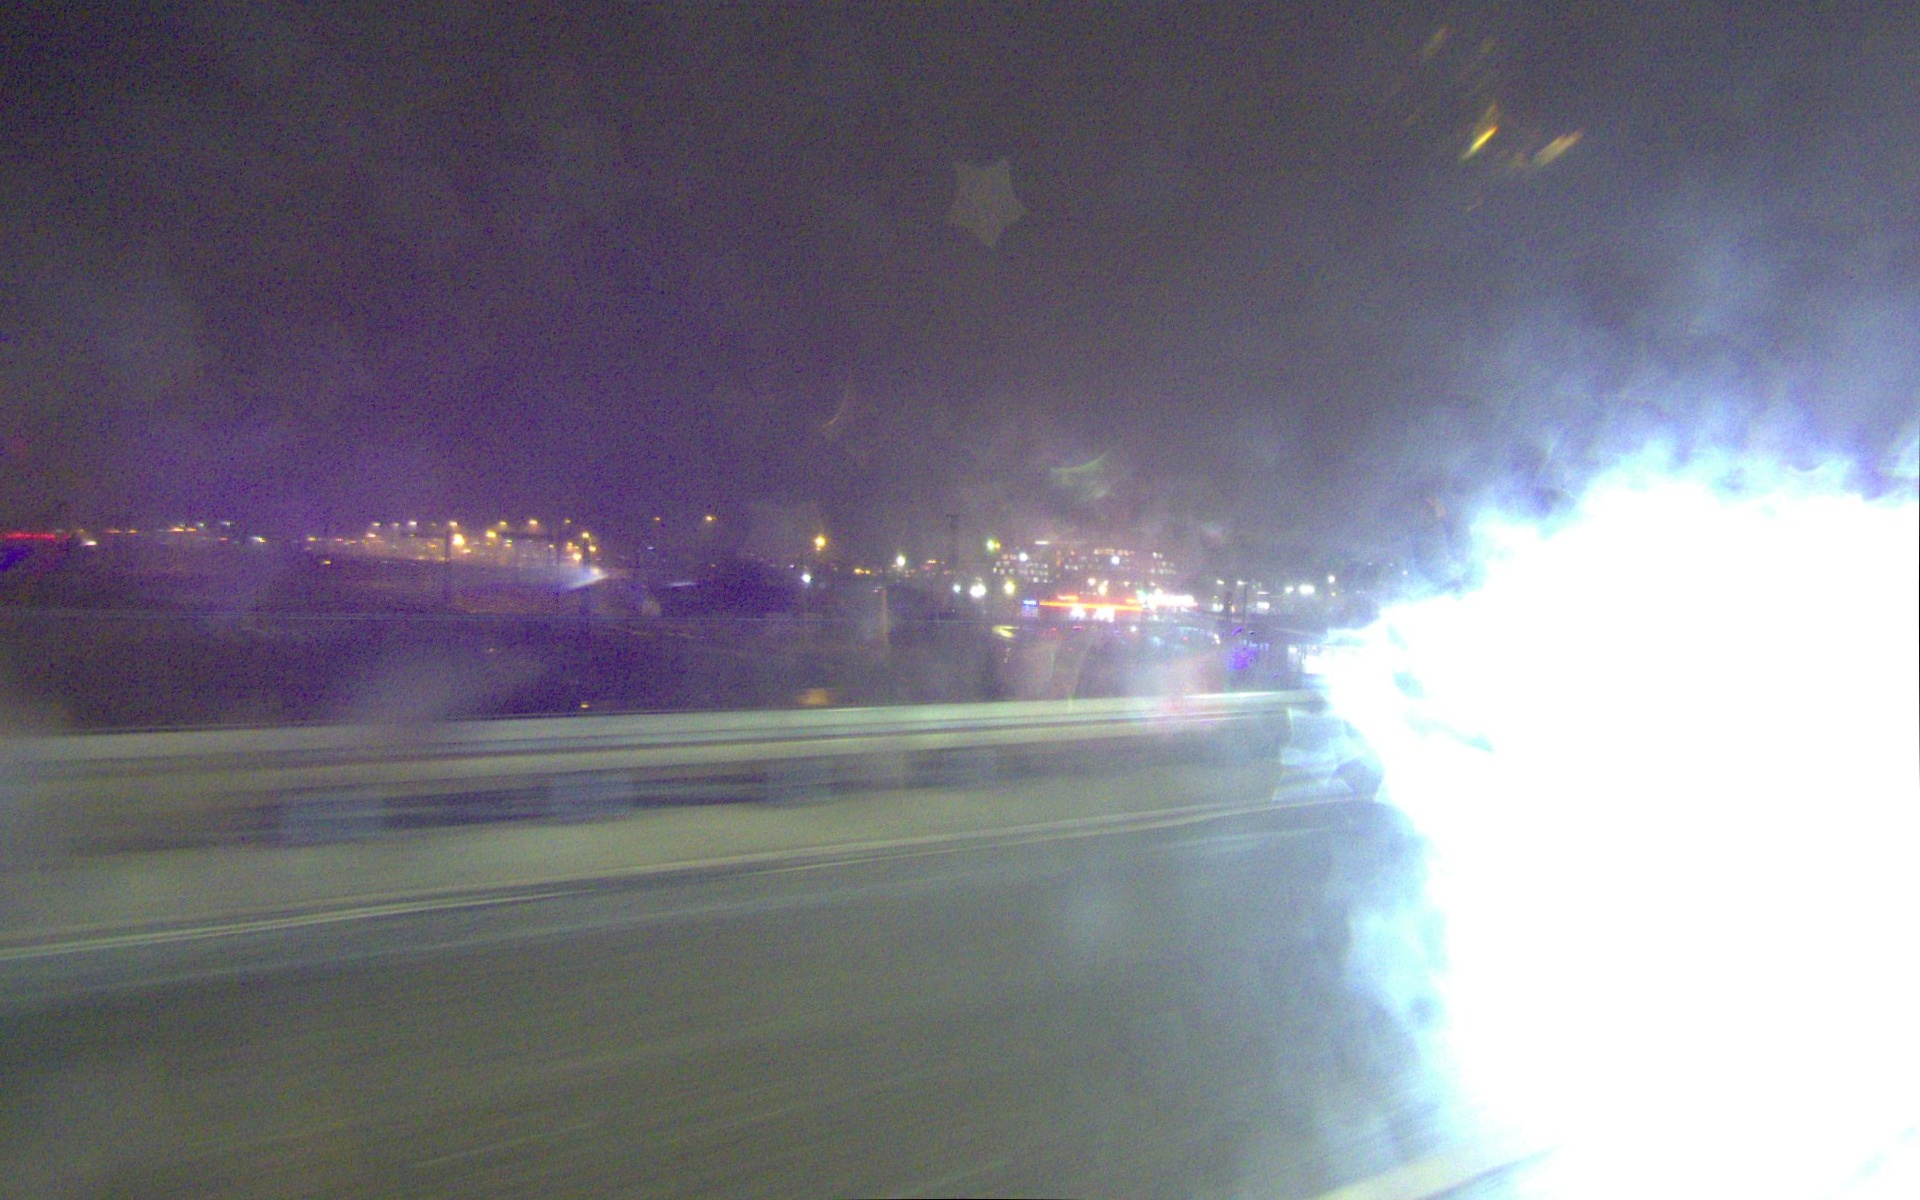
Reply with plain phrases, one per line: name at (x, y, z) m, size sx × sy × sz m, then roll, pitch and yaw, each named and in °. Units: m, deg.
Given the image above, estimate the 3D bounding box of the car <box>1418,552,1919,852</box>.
car at (6.065, 0.646, 8.013) m, size 4.926 × 1.742 × 2.012 m, roll 1°, pitch -1°, yaw -32°
